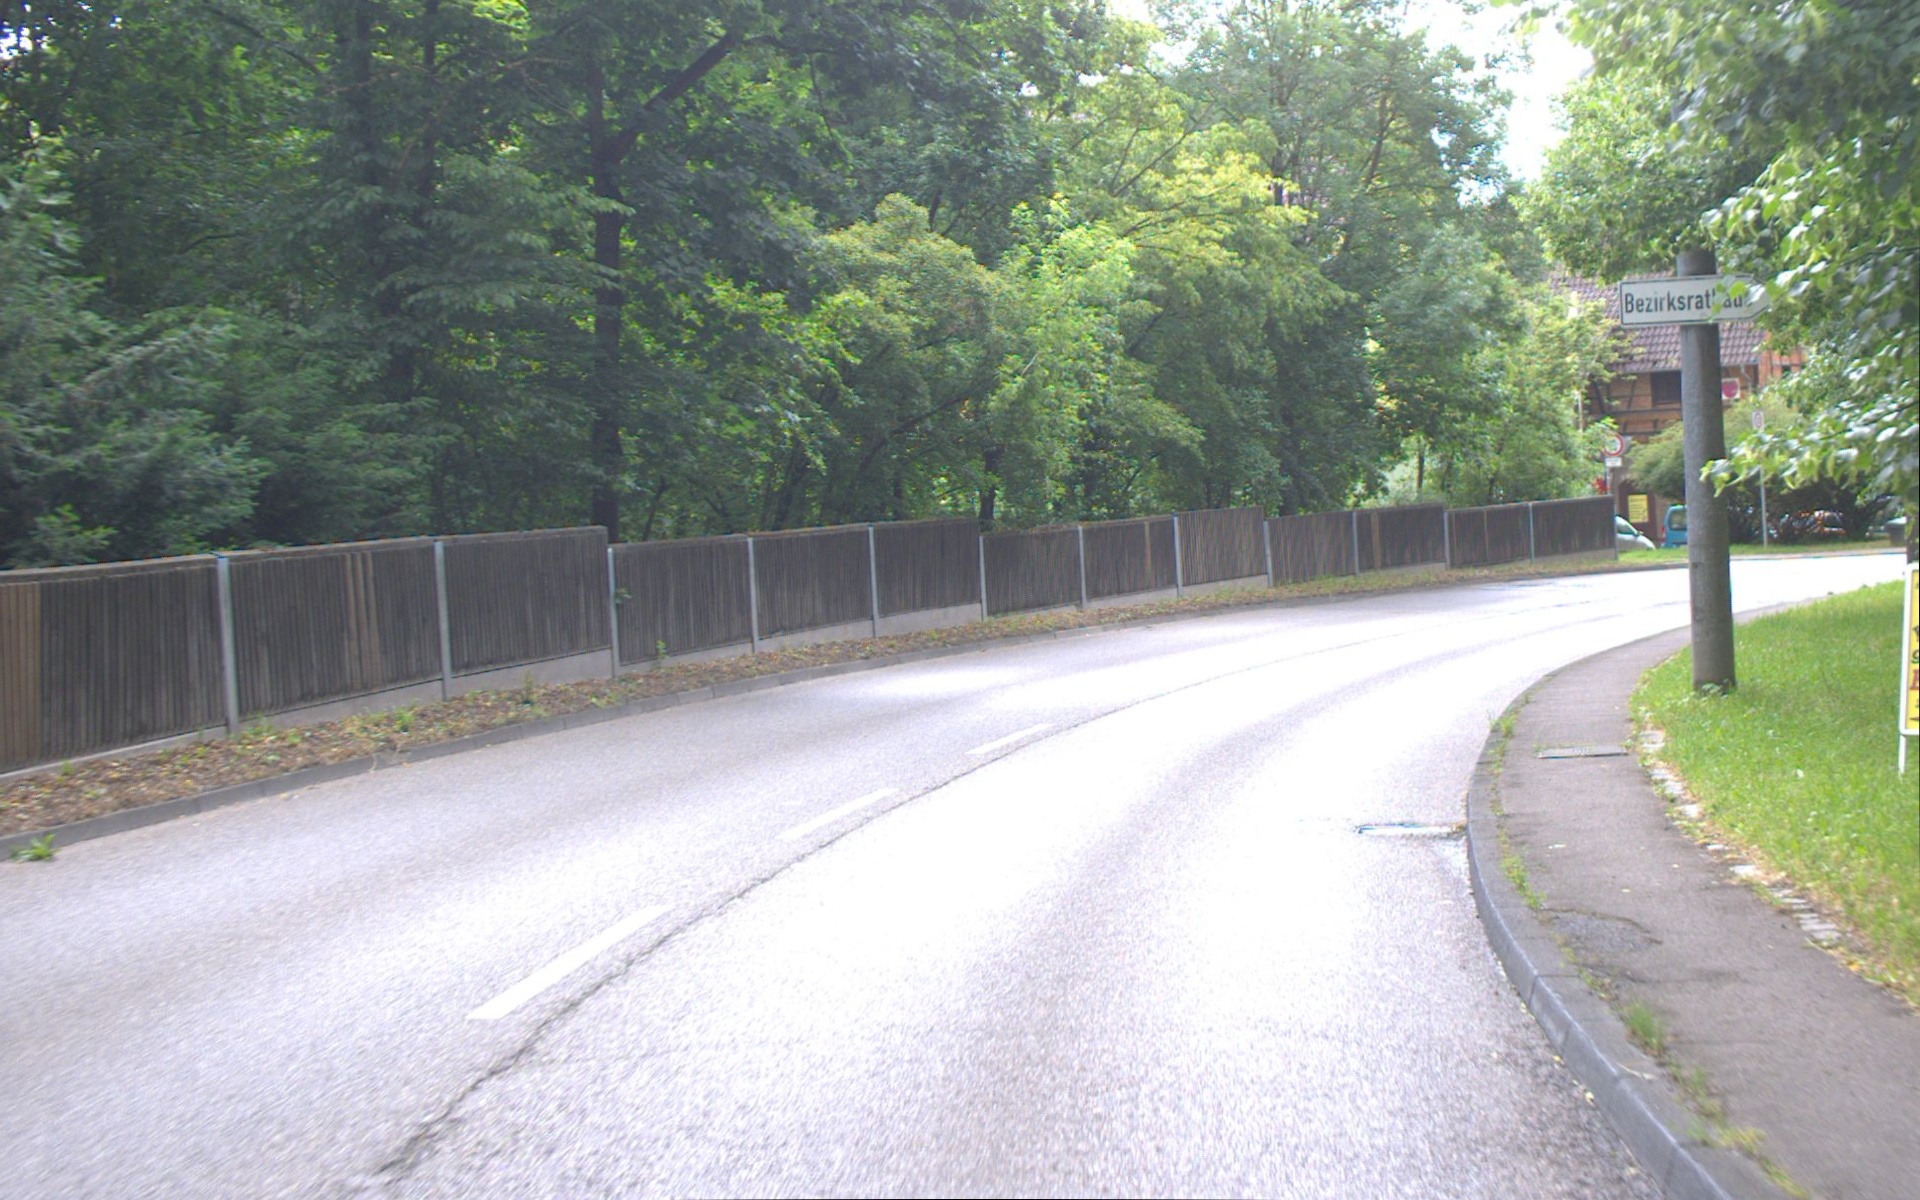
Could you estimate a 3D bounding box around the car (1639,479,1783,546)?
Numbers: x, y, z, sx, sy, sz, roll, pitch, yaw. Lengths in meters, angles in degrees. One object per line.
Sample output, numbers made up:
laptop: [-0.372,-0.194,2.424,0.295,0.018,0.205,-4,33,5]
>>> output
car: [20.824,-2.425,95.249,1.998,1.612,4.438,-4,0,40]
